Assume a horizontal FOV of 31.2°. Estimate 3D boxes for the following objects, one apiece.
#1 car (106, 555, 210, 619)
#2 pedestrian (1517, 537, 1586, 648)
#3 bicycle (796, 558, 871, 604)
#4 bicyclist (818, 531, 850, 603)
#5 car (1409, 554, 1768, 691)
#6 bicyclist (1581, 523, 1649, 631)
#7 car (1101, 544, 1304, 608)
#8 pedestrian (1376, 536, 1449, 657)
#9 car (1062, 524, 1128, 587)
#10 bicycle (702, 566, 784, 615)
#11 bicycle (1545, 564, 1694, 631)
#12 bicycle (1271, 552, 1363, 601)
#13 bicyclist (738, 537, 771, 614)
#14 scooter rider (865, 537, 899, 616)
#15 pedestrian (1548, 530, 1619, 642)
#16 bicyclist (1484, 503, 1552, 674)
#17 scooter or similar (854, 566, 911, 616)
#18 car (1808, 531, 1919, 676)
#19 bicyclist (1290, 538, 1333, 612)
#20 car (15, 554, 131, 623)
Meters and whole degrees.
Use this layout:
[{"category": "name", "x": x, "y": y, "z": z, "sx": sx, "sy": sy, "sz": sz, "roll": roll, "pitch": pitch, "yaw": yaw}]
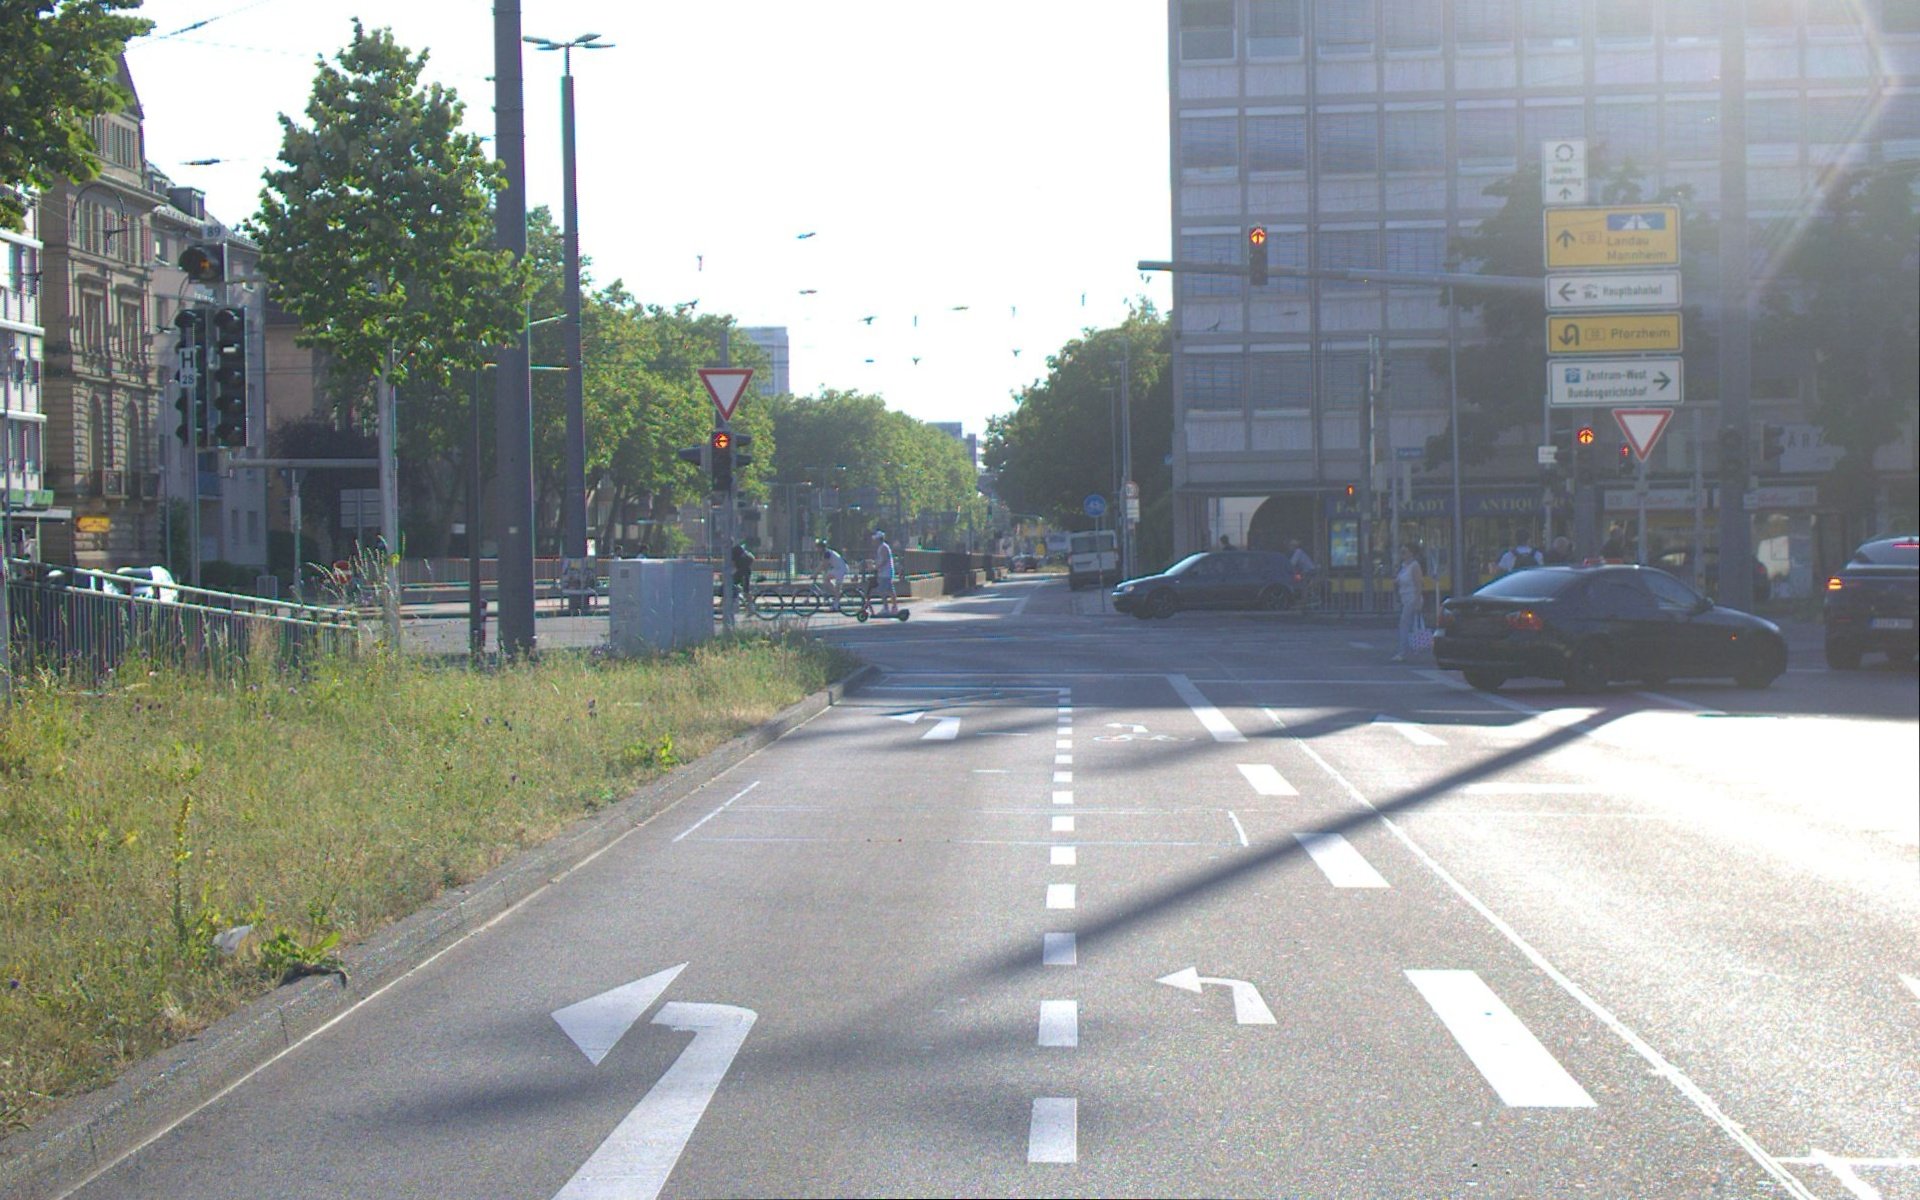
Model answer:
[{"category": "car", "x": -24.610, "y": -0.422, "z": 105.588, "sx": 1.994, "sy": 1.853, "sz": 4.000, "roll": -1, "pitch": 1, "yaw": 4}, {"category": "pedestrian", "x": 8.696, "y": -0.115, "z": 50.548, "sx": 0.878, "sy": 1.592, "sz": 0.655, "roll": -1, "pitch": 1, "yaw": 0}, {"category": "bicycle", "x": -3.027, "y": -0.449, "z": 82.163, "sx": 1.731, "sy": 1.056, "sz": 0.539, "roll": -1, "pitch": 1, "yaw": -8}, {"category": "bicyclist", "x": -3.013, "y": -0.784, "z": 82.163, "sx": 0.663, "sy": 1.706, "sz": 0.538, "roll": -1, "pitch": 1, "yaw": -8}, {"category": "car", "x": 7.001, "y": 0.212, "z": 38.123, "sx": 3.988, "sy": 1.421, "sz": 1.749, "roll": -1, "pitch": 1, "yaw": -39}, {"category": "bicyclist", "x": 10.230, "y": -0.361, "z": 53.708, "sx": 0.959, "sy": 1.656, "sz": 0.691, "roll": 0, "pitch": 1, "yaw": 5}, {"category": "car", "x": 5.223, "y": -0.522, "z": 74.134, "sx": 3.986, "sy": 1.284, "sz": 1.848, "roll": -1, "pitch": 1, "yaw": -12}, {"category": "pedestrian", "x": 6.058, "y": -0.053, "z": 46.054, "sx": 0.878, "sy": 1.592, "sz": 0.655, "roll": -1, "pitch": 1, "yaw": 2}, {"category": "car", "x": 5.445, "y": -1.786, "z": 139.441, "sx": 2.486, "sy": 2.384, "sz": 5.934, "roll": -2, "pitch": 0, "yaw": 1}, {"category": "bicycle", "x": -4.878, "y": -0.216, "z": 77.246, "sx": 1.775, "sy": 1.068, "sz": 0.535, "roll": -1, "pitch": 1, "yaw": -8}, {"category": "bicycle", "x": 10.291, "y": -0.047, "z": 53.709, "sx": 2.226, "sy": 1.023, "sz": 0.682, "roll": 0, "pitch": 1, "yaw": 5}, {"category": "bicycle", "x": 8.579, "y": -0.560, "z": 82.604, "sx": 2.093, "sy": 1.133, "sz": 0.658, "roll": -1, "pitch": 1, "yaw": -2}, {"category": "bicyclist", "x": -4.620, "y": -0.545, "z": 77.159, "sx": 0.663, "sy": 1.706, "sz": 0.538, "roll": -1, "pitch": 1, "yaw": -8}, {"category": "scooter rider", "x": -1.710, "y": -0.511, "z": 75.203, "sx": 0.663, "sy": 1.706, "sz": 0.527, "roll": -1, "pitch": 1, "yaw": -8}, {"category": "pedestrian", "x": 9.035, "y": -0.206, "z": 49.830, "sx": 0.878, "sy": 1.592, "sz": 0.655, "roll": -1, "pitch": 1, "yaw": 0}, {"category": "bicyclist", "x": 6.710, "y": -0.149, "z": 41.364, "sx": 0.643, "sy": 2.006, "sz": 1.067, "roll": 1, "pitch": 2, "yaw": 2}, {"category": "scooter or similar", "x": -1.706, "y": -0.191, "z": 75.209, "sx": 1.171, "sy": 1.068, "sz": 0.530, "roll": -1, "pitch": 1, "yaw": -8}, {"category": "car", "x": 12.106, "y": 0.007, "z": 43.475, "sx": 1.996, "sy": 1.687, "sz": 3.995, "roll": 1, "pitch": 2, "yaw": 24}, {"category": "bicyclist", "x": 8.441, "y": -0.609, "z": 82.595, "sx": 0.898, "sy": 1.747, "sz": 0.655, "roll": -1, "pitch": 1, "yaw": -3}, {"category": "car", "x": -25.143, "y": -0.339, "z": 97.573, "sx": 1.994, "sy": 1.853, "sz": 4.000, "roll": -1, "pitch": 1, "yaw": 4}]
